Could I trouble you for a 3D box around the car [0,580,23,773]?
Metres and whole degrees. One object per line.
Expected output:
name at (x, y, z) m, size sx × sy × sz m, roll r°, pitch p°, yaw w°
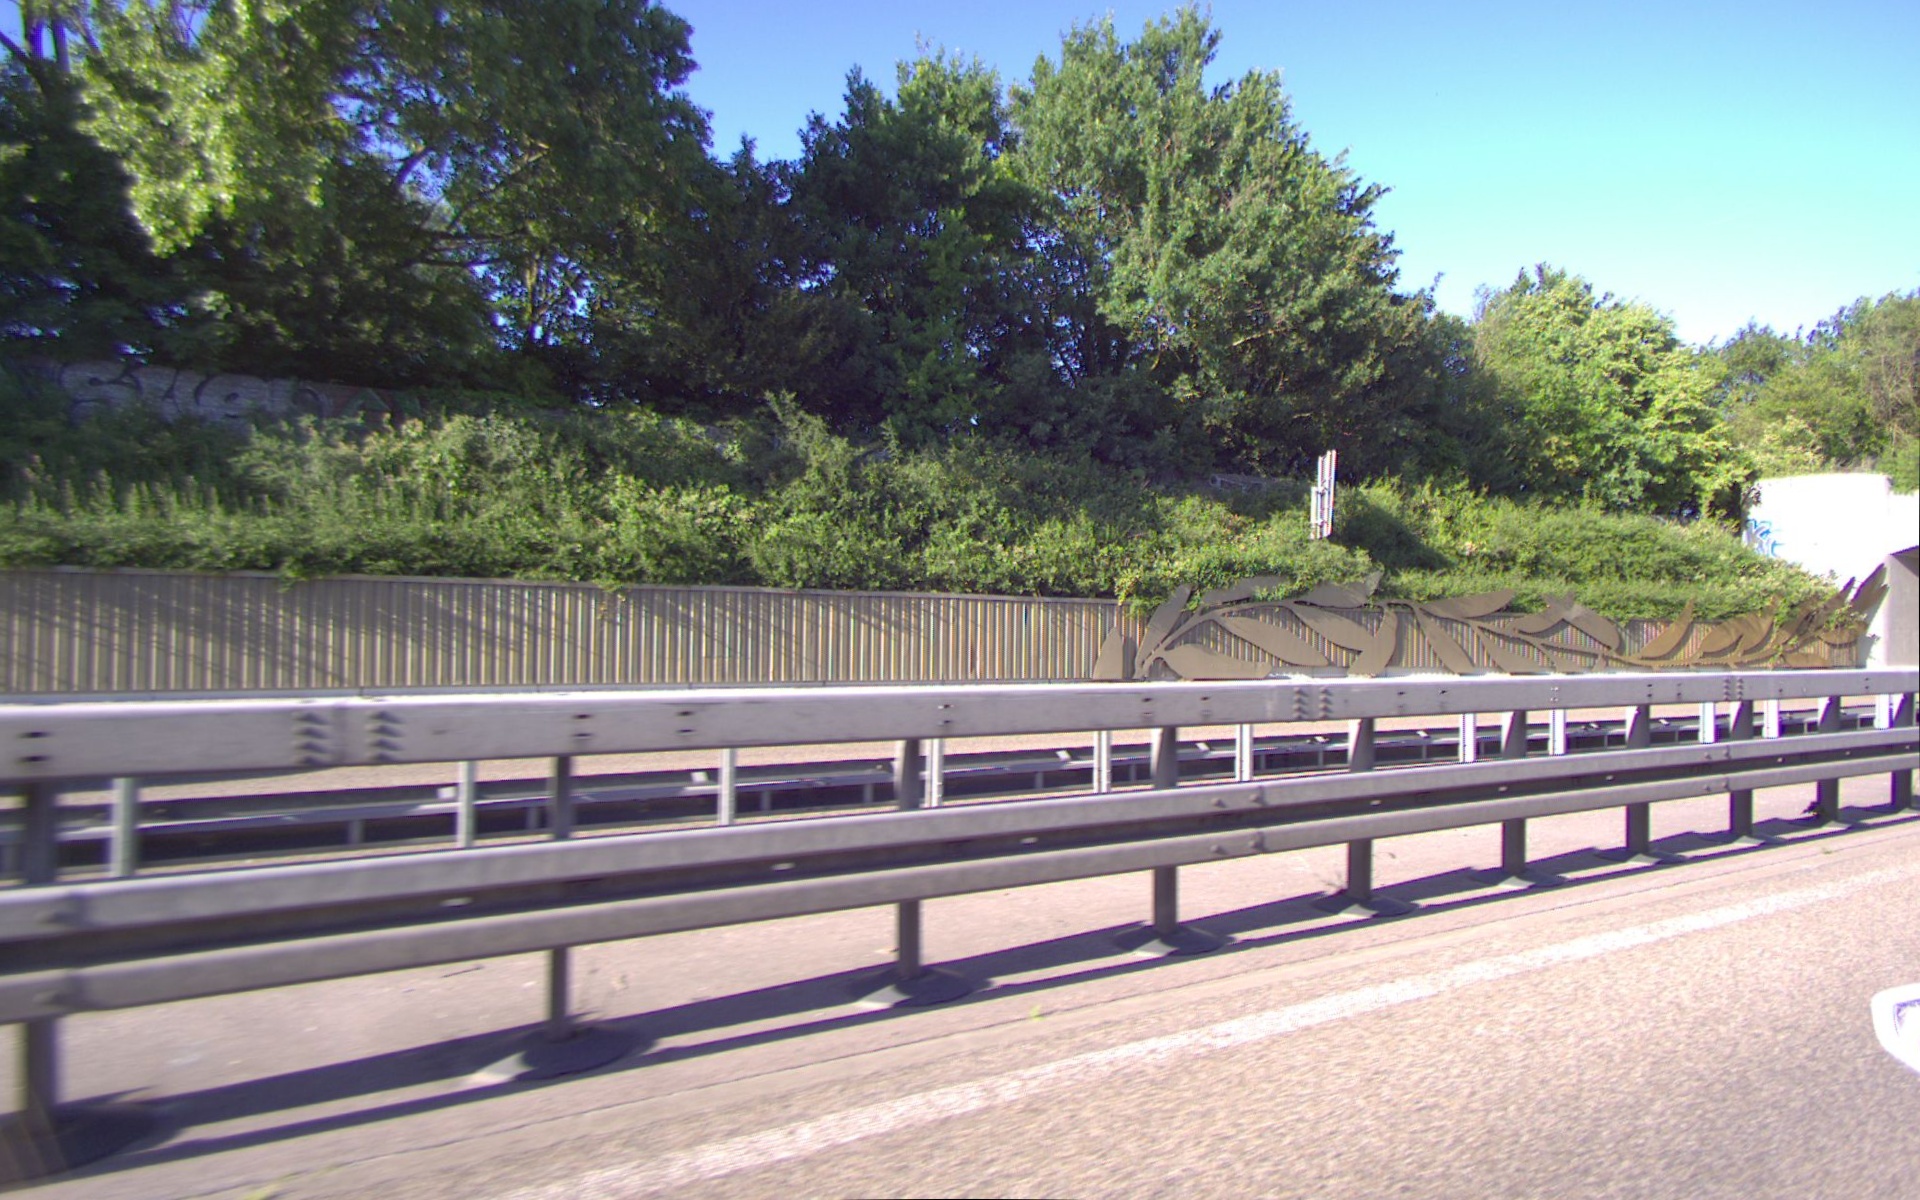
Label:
car at (-10.448, 0.661, 7.472) m, size 4.806 × 1.698 × 1.659 m, roll 1°, pitch 1°, yaw -30°
